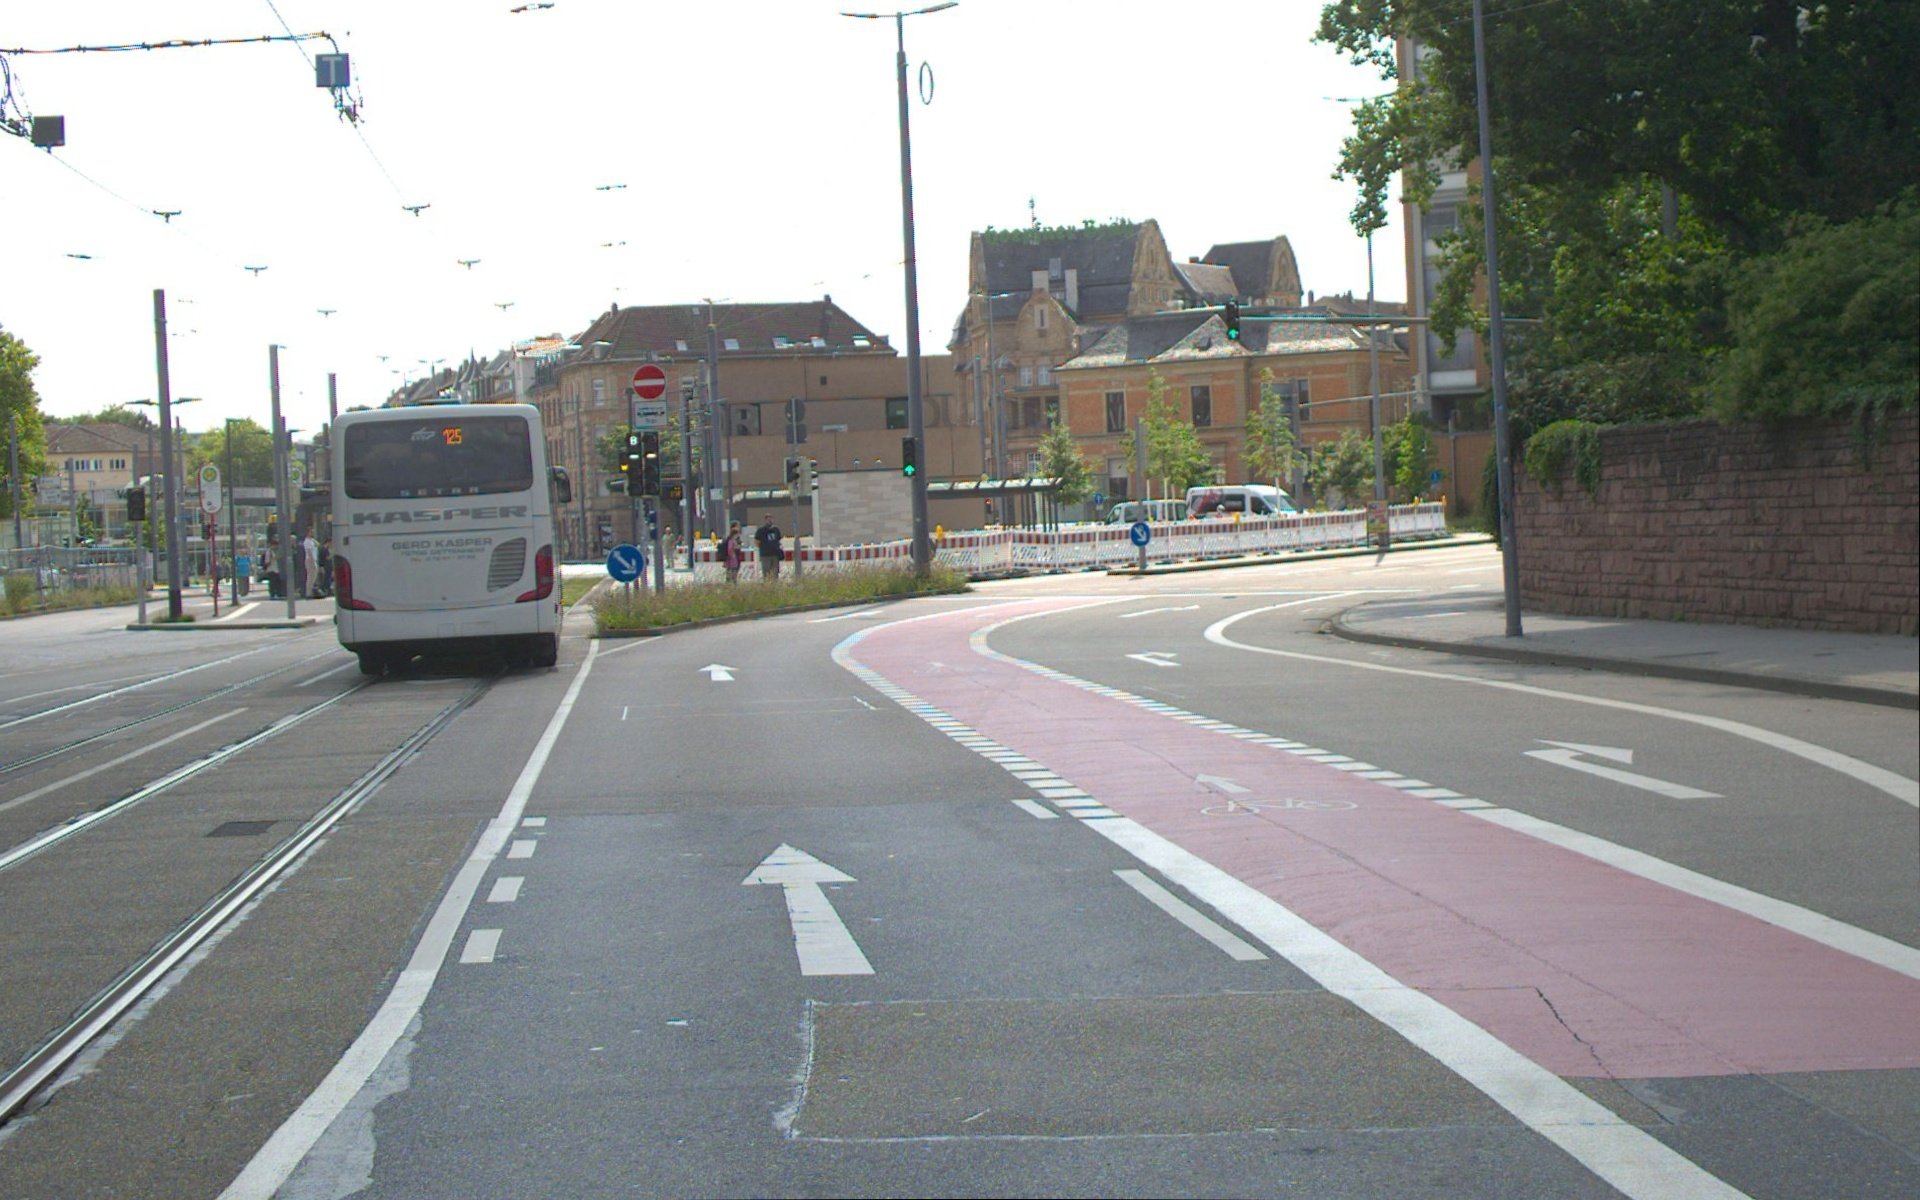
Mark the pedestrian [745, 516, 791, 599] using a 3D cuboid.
[{"bbox_3d":[-4.459,-0.985,79.661,0.791,1.878,0.613,-3,1,-30],"label":"pedestrian"}]

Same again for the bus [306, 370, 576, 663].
[{"bbox_3d":[-6.657,-1.029,45.728,2.917,3.316,12.208,-1,1,-6],"label":"bus"}]

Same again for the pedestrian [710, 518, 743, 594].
[{"bbox_3d":[-5.306,-0.995,78.126,0.611,1.701,0.623,-3,1,-8],"label":"pedestrian"}]

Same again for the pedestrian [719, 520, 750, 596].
[{"bbox_3d":[-5.187,-0.964,79.122,0.409,1.730,0.620,-2,1,21],"label":"pedestrian"}]

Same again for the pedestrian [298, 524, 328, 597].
[{"bbox_3d":[-16.954,-1.044,90.041,0.611,1.878,0.794,-3,1,-5],"label":"pedestrian"}]

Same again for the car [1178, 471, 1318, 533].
[{"bbox_3d":[11.812,-4.022,141.330,2.295,2.311,5.586,-3,1,-41],"label":"car"}]

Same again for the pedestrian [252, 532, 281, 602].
[{"bbox_3d":[-19.100,-0.915,94.642,0.611,1.878,0.794,-3,1,-4],"label":"pedestrian"}]
